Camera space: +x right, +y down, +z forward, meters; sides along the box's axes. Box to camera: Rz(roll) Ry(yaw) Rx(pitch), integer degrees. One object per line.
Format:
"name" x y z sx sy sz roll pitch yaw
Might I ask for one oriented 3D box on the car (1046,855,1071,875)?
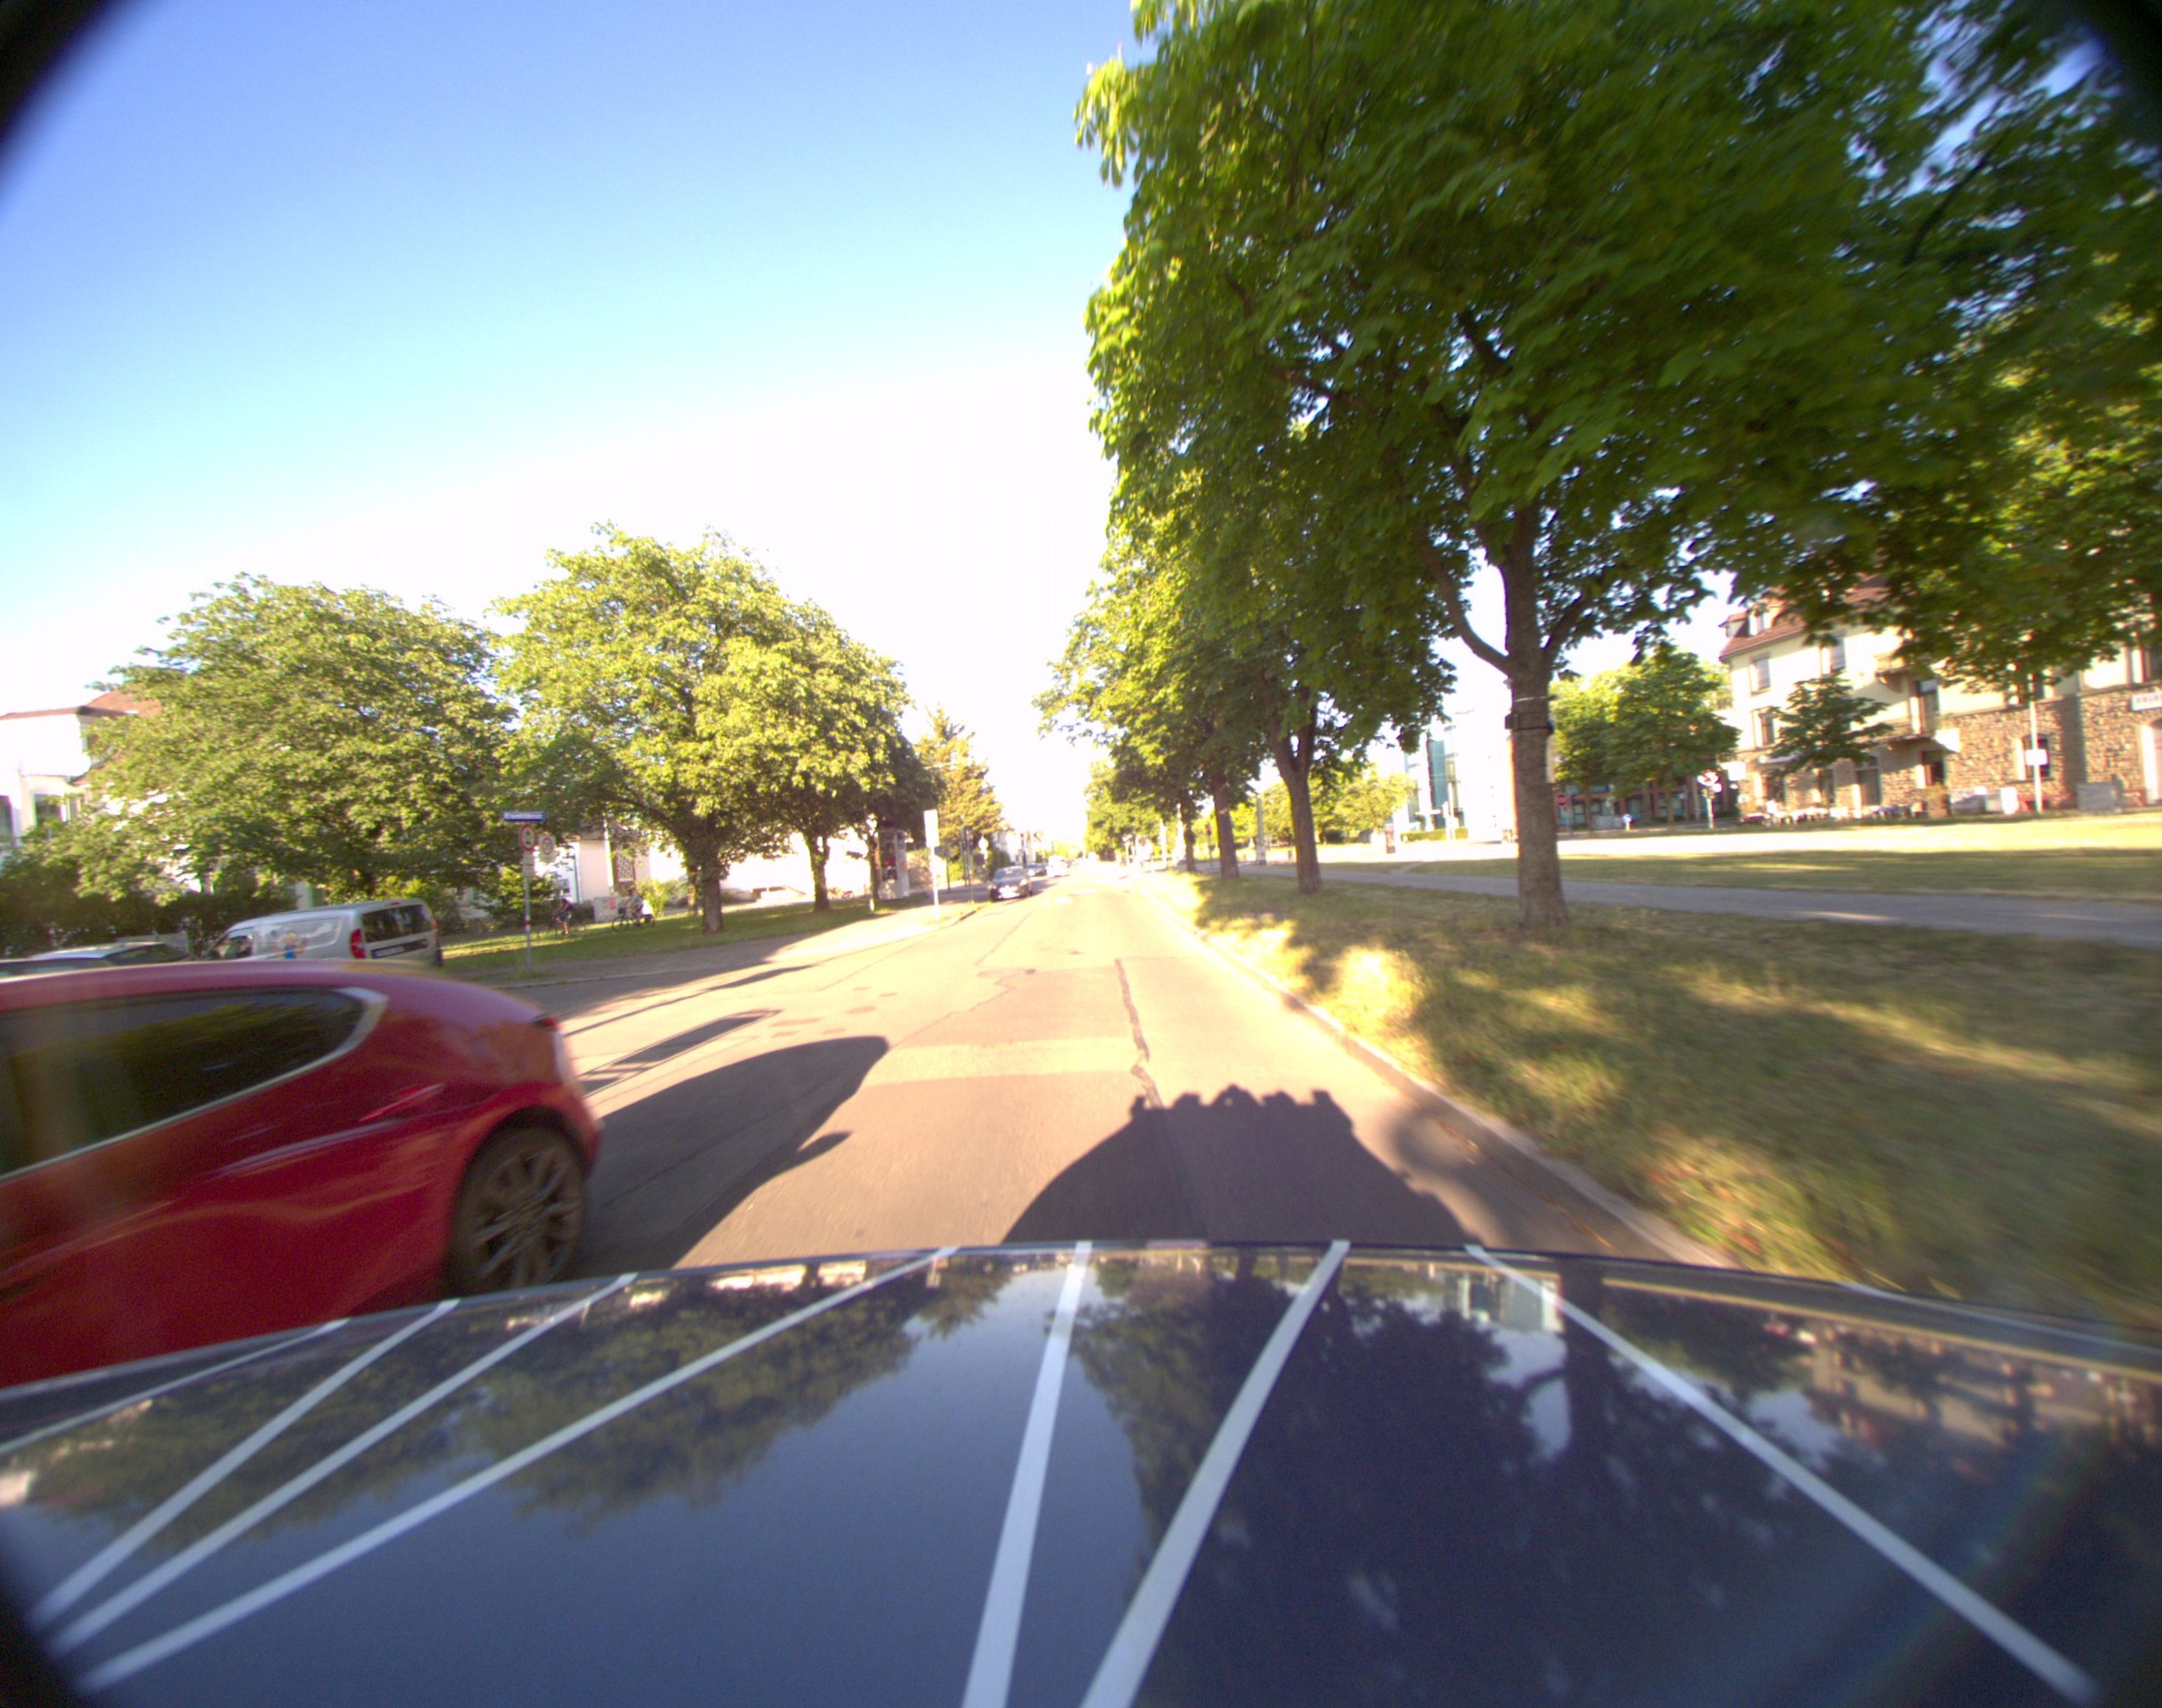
"car" -2.306 1.117 75.974 1.999 1.775 3.998 -5 0 -7

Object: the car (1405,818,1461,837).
"car" 39.203 -2.955 84.665 5.221 1.662 1.967 -5 1 -3

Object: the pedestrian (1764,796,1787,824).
"pedestrian" 42.137 -2.654 46.090 0.617 1.615 0.682 -7 1 -1

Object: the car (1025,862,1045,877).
"car" -5.178 1.704 85.762 2.009 1.490 4.915 -3 0 -2

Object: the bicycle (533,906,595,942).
"bicycle" -20.965 2.821 30.842 0.491 1.177 1.967 0 3 41

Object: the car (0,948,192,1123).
"car" -12.108 1.957 7.719 3.997 1.438 1.716 -5 1 0

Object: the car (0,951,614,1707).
"car" -2.907 1.203 1.062 1.714 1.351 4.202 -7 1 1

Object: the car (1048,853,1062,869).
"car" -4.819 1.277 142.168 2.132 2.461 5.723 -7 1 0

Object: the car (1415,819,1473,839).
"car" 39.364 -2.698 82.425 5.220 1.662 1.999 -5 1 -2

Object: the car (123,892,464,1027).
"car" -14.885 1.944 14.583 4.252 1.864 2.030 -6 1 1

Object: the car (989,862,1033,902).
"car" -3.186 1.230 35.319 1.730 1.502 4.538 -6 1 -4

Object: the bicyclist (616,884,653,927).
"bicyclist" -19.436 2.219 33.092 0.815 1.722 0.895 -6 1 21

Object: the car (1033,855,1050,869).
"car" -5.209 1.060 101.209 1.796 1.586 4.077 -7 -1 0

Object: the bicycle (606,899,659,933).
"bicycle" -19.428 2.680 32.963 0.573 1.177 1.907 -6 1 20

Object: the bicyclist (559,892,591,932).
"bicyclist" -20.715 2.348 31.112 0.712 1.553 0.895 0 1 42

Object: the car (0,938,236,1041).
"car" -19.501 2.668 14.986 3.563 1.507 1.605 -5 1 -5
